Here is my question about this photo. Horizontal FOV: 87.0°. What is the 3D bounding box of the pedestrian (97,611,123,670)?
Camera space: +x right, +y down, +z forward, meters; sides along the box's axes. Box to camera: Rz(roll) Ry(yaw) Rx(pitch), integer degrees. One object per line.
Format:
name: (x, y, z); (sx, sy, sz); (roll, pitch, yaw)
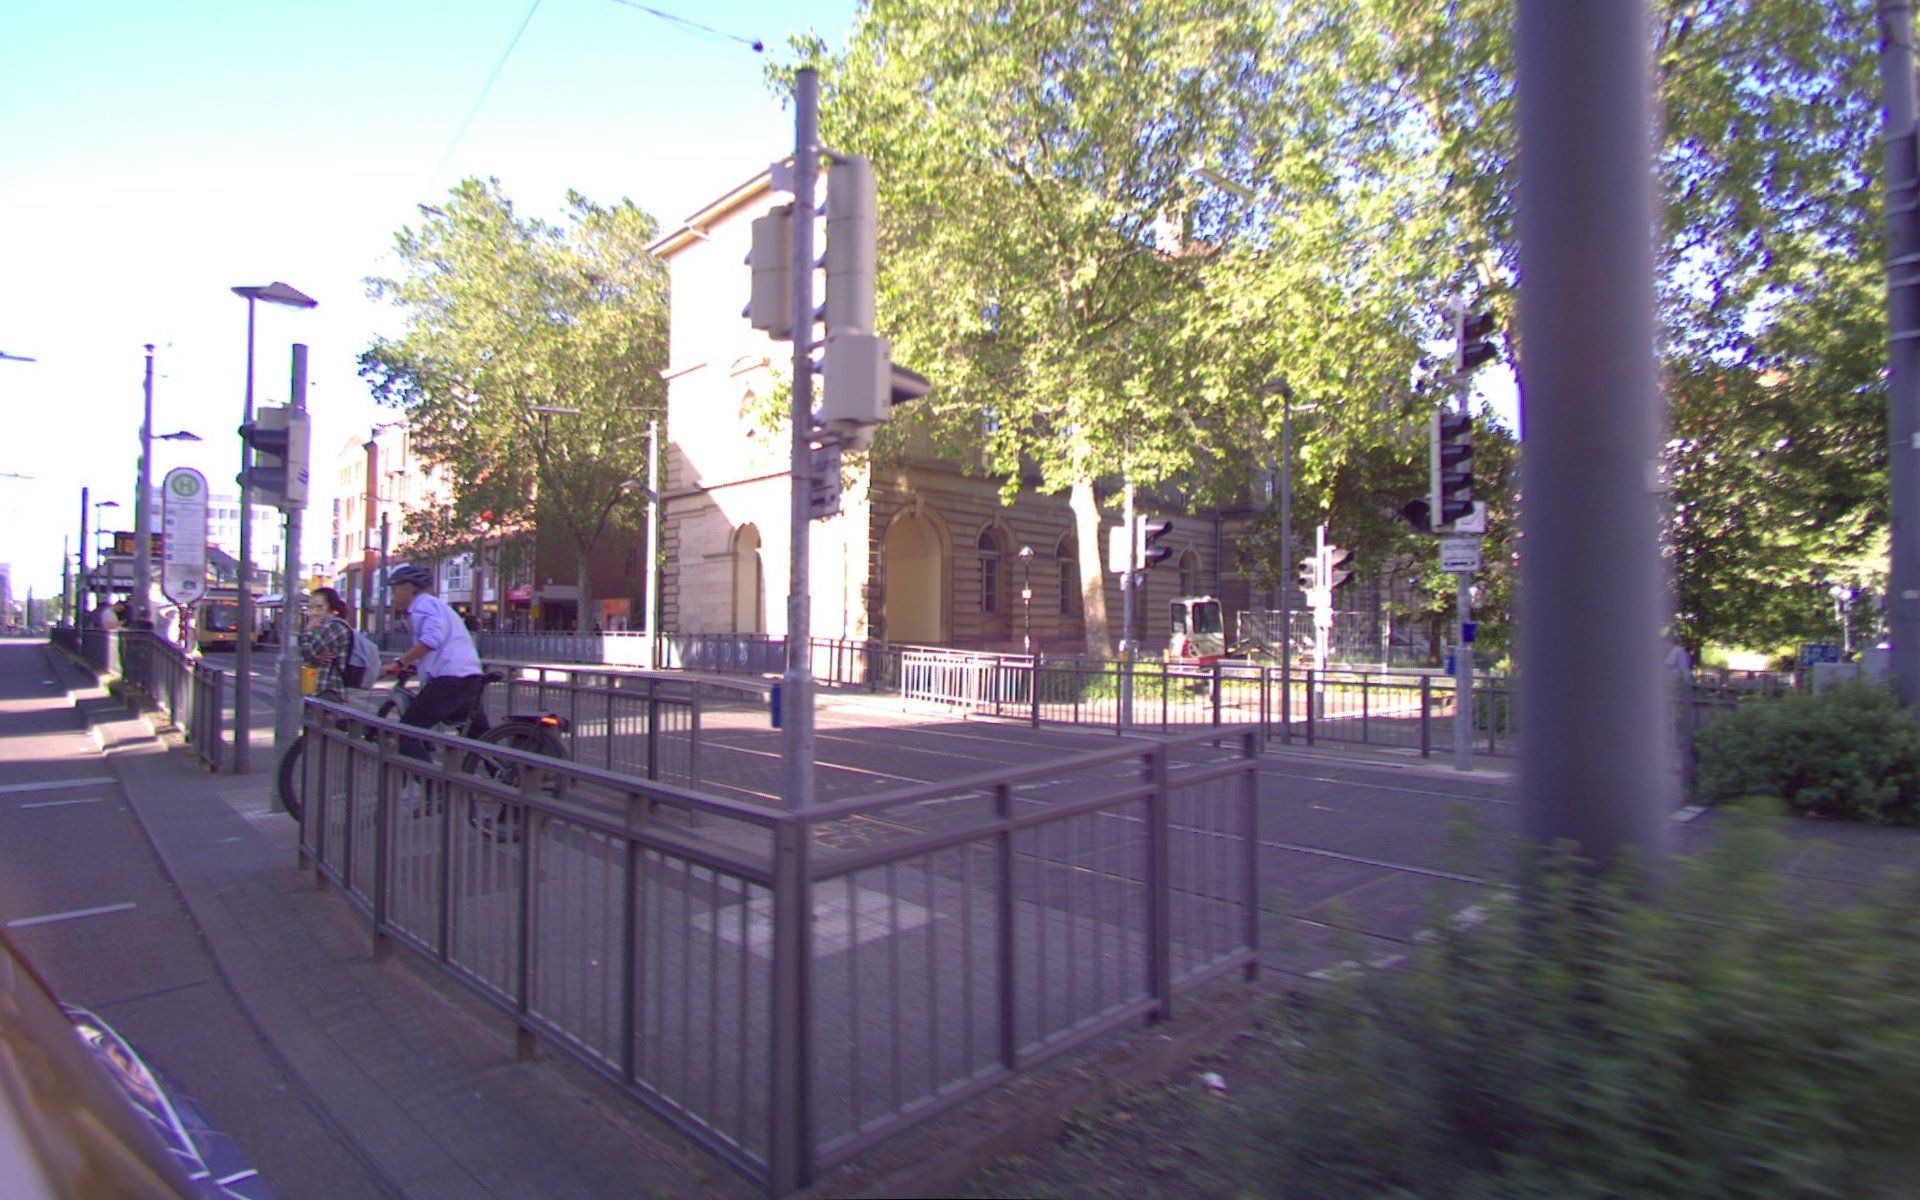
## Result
pedestrian: (-24.478, 1.166, 29.139); (0.487, 1.661, 0.590); (2, -3, -44)

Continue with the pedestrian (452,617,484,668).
pedestrian: (-16.488, 1.414, 33.929); (0.687, 1.680, 1.034); (2, -3, -42)

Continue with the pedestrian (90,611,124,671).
pedestrian: (-25.269, 1.214, 29.975); (0.681, 1.765, 0.748); (2, -3, -44)

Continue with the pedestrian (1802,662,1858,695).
pedestrian: (28.228, 2.544, 32.835); (1.270, 1.002, 1.233); (-2, -3, 44)

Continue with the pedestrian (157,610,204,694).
pedestrian: (-16.706, 1.103, 21.694); (0.753, 1.748, 0.591); (1, -3, -37)

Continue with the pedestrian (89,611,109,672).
pedestrian: (-23.889, 1.143, 28.074); (0.347, 1.682, 0.529); (2, -3, -44)

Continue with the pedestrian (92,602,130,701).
pedestrian: (-18.777, 1.135, 22.376); (0.531, 2.136, 0.808); (2, -4, -44)

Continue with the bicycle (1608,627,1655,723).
bicycle: (12.278, 1.357, 18.527); (0.645, 1.729, 0.577); (-2, -3, 31)

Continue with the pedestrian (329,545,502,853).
pedestrian: (-3.491, 0.604, 6.556); (0.586, 1.835, 0.941); (-1, -1, 2)

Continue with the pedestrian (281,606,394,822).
pedestrian: (-4.913, 0.865, 7.985); (0.666, 1.602, 0.512); (-2, 0, 38)

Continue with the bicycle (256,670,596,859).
bicycle: (-3.407, 1.040, 6.519); (1.920, 1.102, 0.598); (-2, -2, 5)

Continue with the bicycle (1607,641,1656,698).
bicycle: (12.196, 1.229, 18.415); (0.645, 0.974, 2.146); (-2, -3, 32)

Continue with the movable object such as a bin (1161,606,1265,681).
movable object such as a bin: (7.101, 1.219, 28.469); (2.604, 2.029, 1.178); (1, -3, -19)

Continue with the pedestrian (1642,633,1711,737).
pedestrian: (11.753, 1.376, 16.623); (0.669, 1.649, 0.688); (0, -3, 14)

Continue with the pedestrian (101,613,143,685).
pedestrian: (-21.962, 1.267, 26.520); (0.804, 1.845, 0.762); (-2, -1, 43)

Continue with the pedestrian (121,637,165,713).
pedestrian: (-14.496, 1.319, 17.960); (0.473, 1.339, 0.355); (1, -2, -13)

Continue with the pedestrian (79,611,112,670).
pedestrian: (-26.574, 1.248, 31.116); (0.681, 1.778, 0.748); (2, -3, -44)

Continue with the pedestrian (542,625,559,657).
pedestrian: (-23.376, 2.345, 57.738); (0.679, 1.820, 0.649); (2, -3, -44)

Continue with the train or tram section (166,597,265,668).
train or tram section: (-44.328, 2.035, 59.896); (2.938, 3.672, 16.501); (0, -2, -43)

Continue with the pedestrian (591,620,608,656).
pedestrian: (-19.594, 2.063, 55.027); (0.697, 1.896, 0.627); (2, -3, -39)
